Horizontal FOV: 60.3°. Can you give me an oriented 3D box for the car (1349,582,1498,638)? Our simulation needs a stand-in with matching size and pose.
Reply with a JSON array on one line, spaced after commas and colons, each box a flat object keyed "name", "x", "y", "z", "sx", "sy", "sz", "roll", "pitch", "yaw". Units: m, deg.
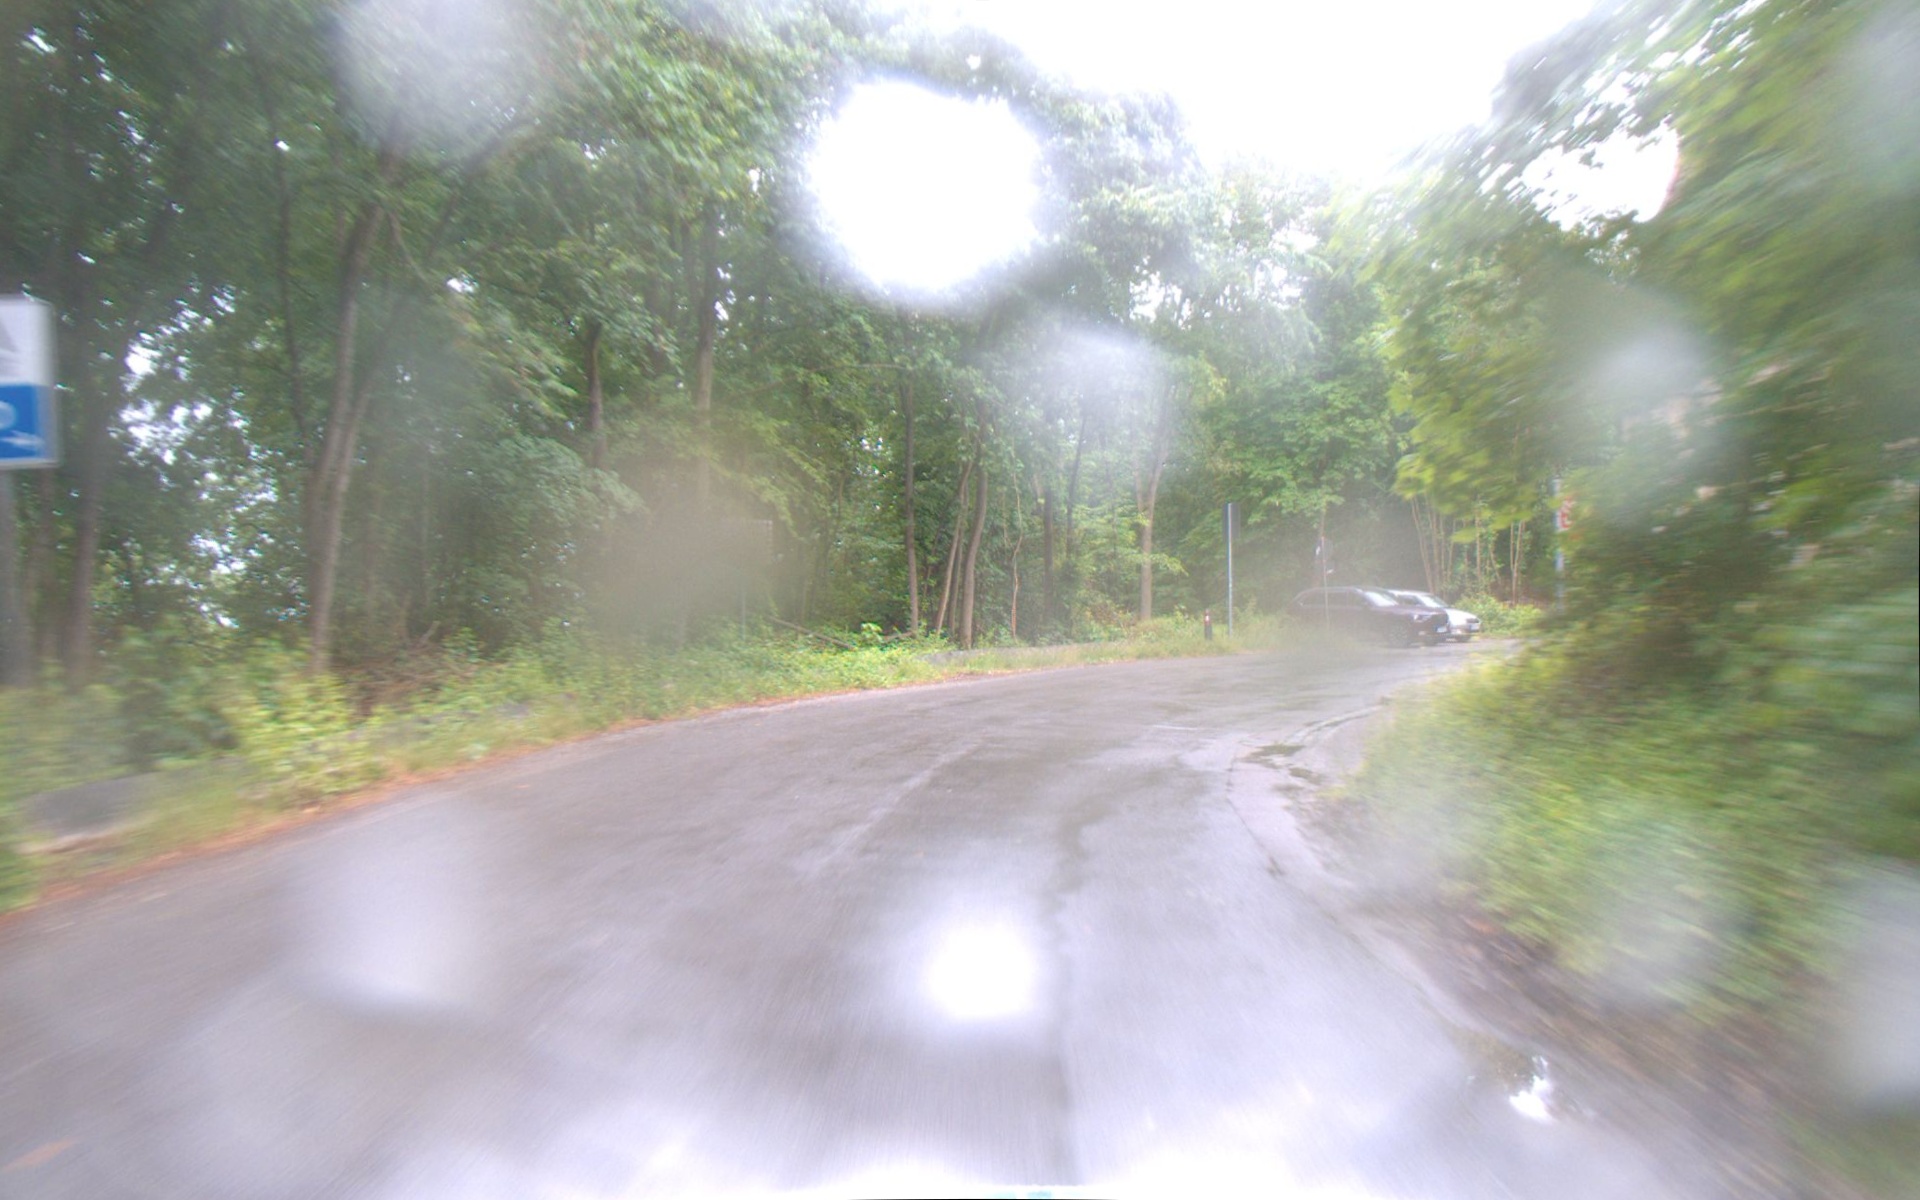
[{"name": "car", "x": 14.113, "y": 0.316, "z": 50.537, "sx": 1.758, "sy": 1.582, "sz": 4.087, "roll": -2, "pitch": 1, "yaw": -41}]

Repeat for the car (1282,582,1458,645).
[{"name": "car", "x": 11.939, "y": 0.412, "z": 48.366, "sx": 1.861, "sy": 1.706, "sz": 4.765, "roll": -2, "pitch": 1, "yaw": -42}]
